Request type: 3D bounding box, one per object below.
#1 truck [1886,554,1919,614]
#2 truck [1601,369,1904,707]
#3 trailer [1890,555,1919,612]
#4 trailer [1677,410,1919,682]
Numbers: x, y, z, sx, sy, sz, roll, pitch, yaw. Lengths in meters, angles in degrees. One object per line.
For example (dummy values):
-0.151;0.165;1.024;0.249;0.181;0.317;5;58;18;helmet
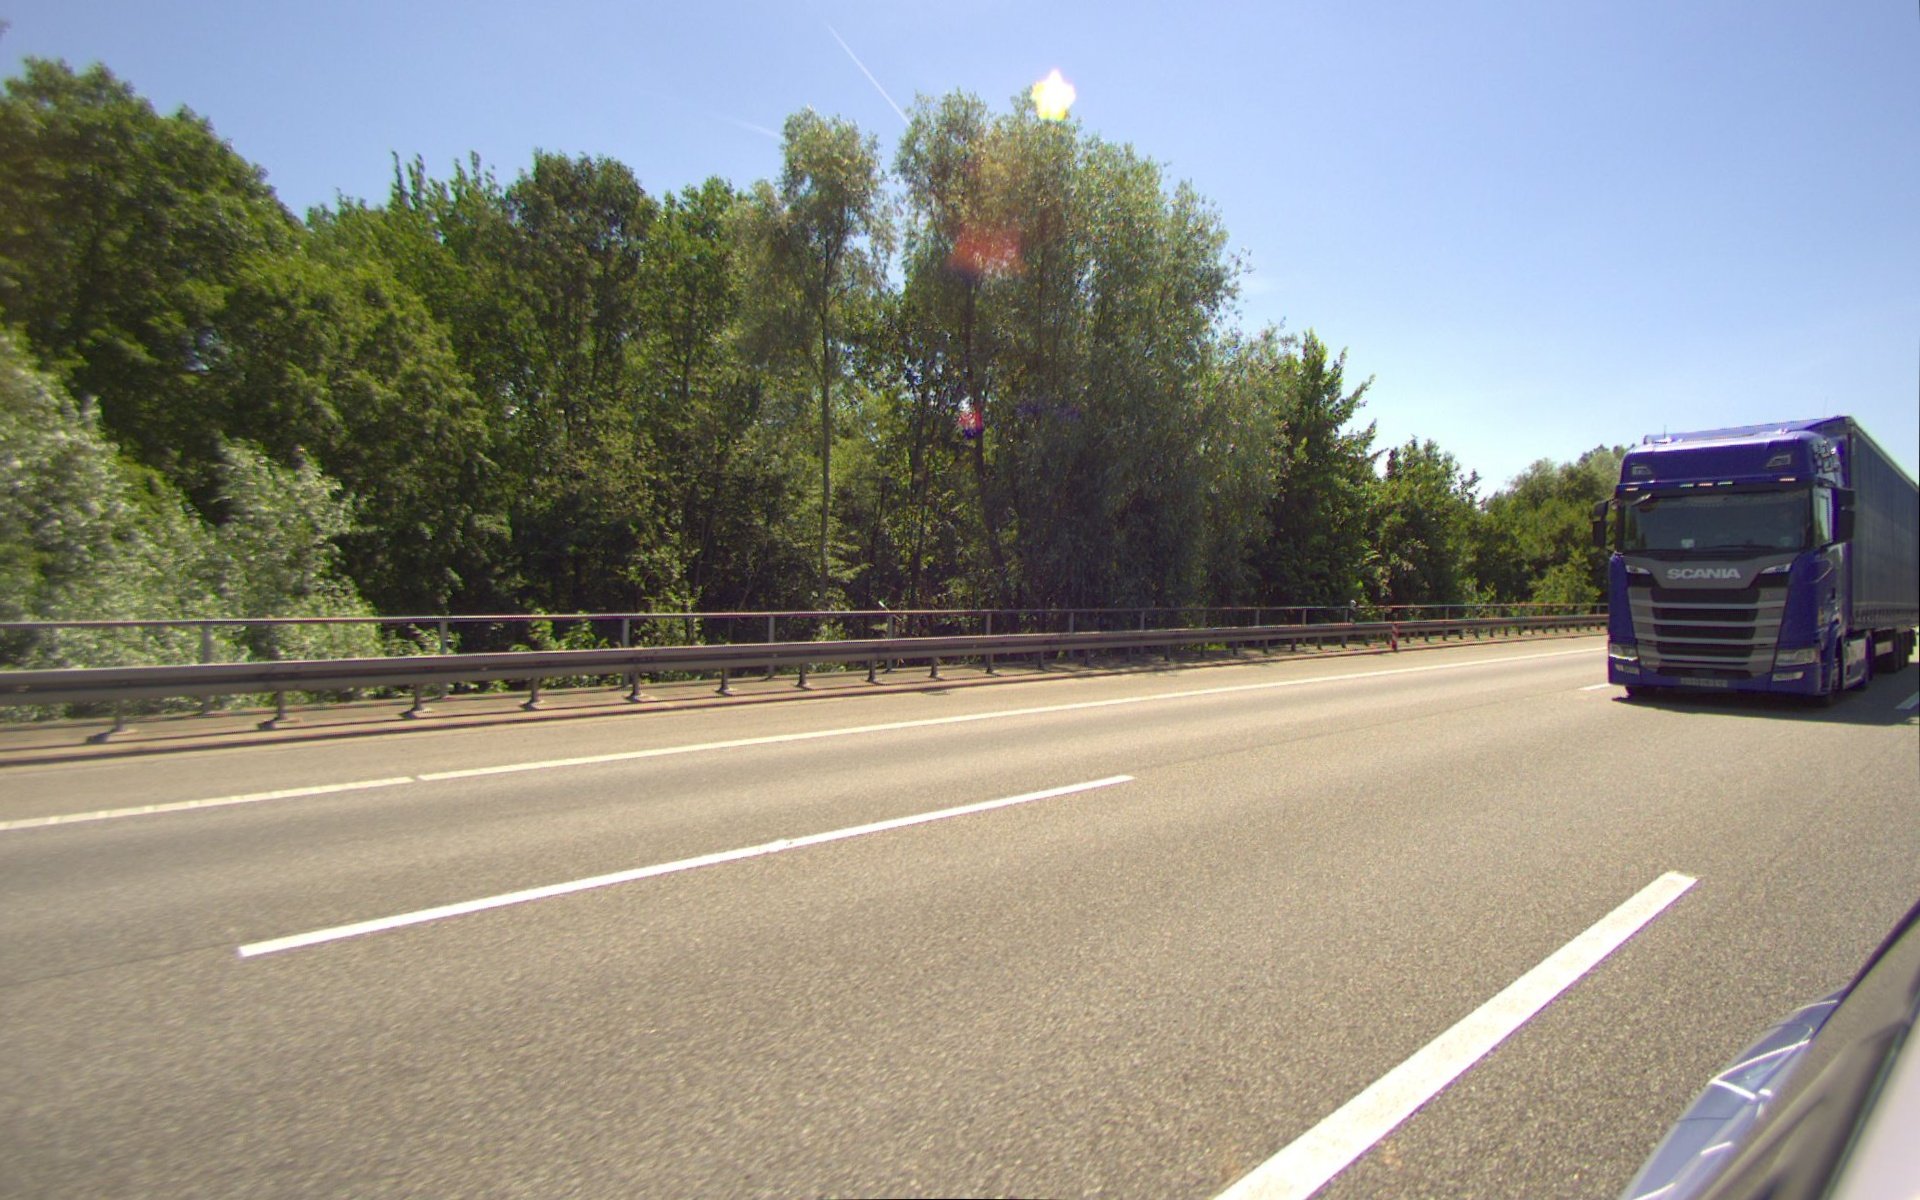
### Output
69.621;-1.143;73.580;7.639;4.170;2.798;0;0;-43;truck
12.594;-0.795;15.835;6.873;4.170;2.703;0;0;-43;truck
73.431;-1.219;77.196;12.093;4.170;2.798;0;0;-43;trailer
17.723;-0.872;20.579;11.925;4.170;2.703;0;0;-43;trailer
